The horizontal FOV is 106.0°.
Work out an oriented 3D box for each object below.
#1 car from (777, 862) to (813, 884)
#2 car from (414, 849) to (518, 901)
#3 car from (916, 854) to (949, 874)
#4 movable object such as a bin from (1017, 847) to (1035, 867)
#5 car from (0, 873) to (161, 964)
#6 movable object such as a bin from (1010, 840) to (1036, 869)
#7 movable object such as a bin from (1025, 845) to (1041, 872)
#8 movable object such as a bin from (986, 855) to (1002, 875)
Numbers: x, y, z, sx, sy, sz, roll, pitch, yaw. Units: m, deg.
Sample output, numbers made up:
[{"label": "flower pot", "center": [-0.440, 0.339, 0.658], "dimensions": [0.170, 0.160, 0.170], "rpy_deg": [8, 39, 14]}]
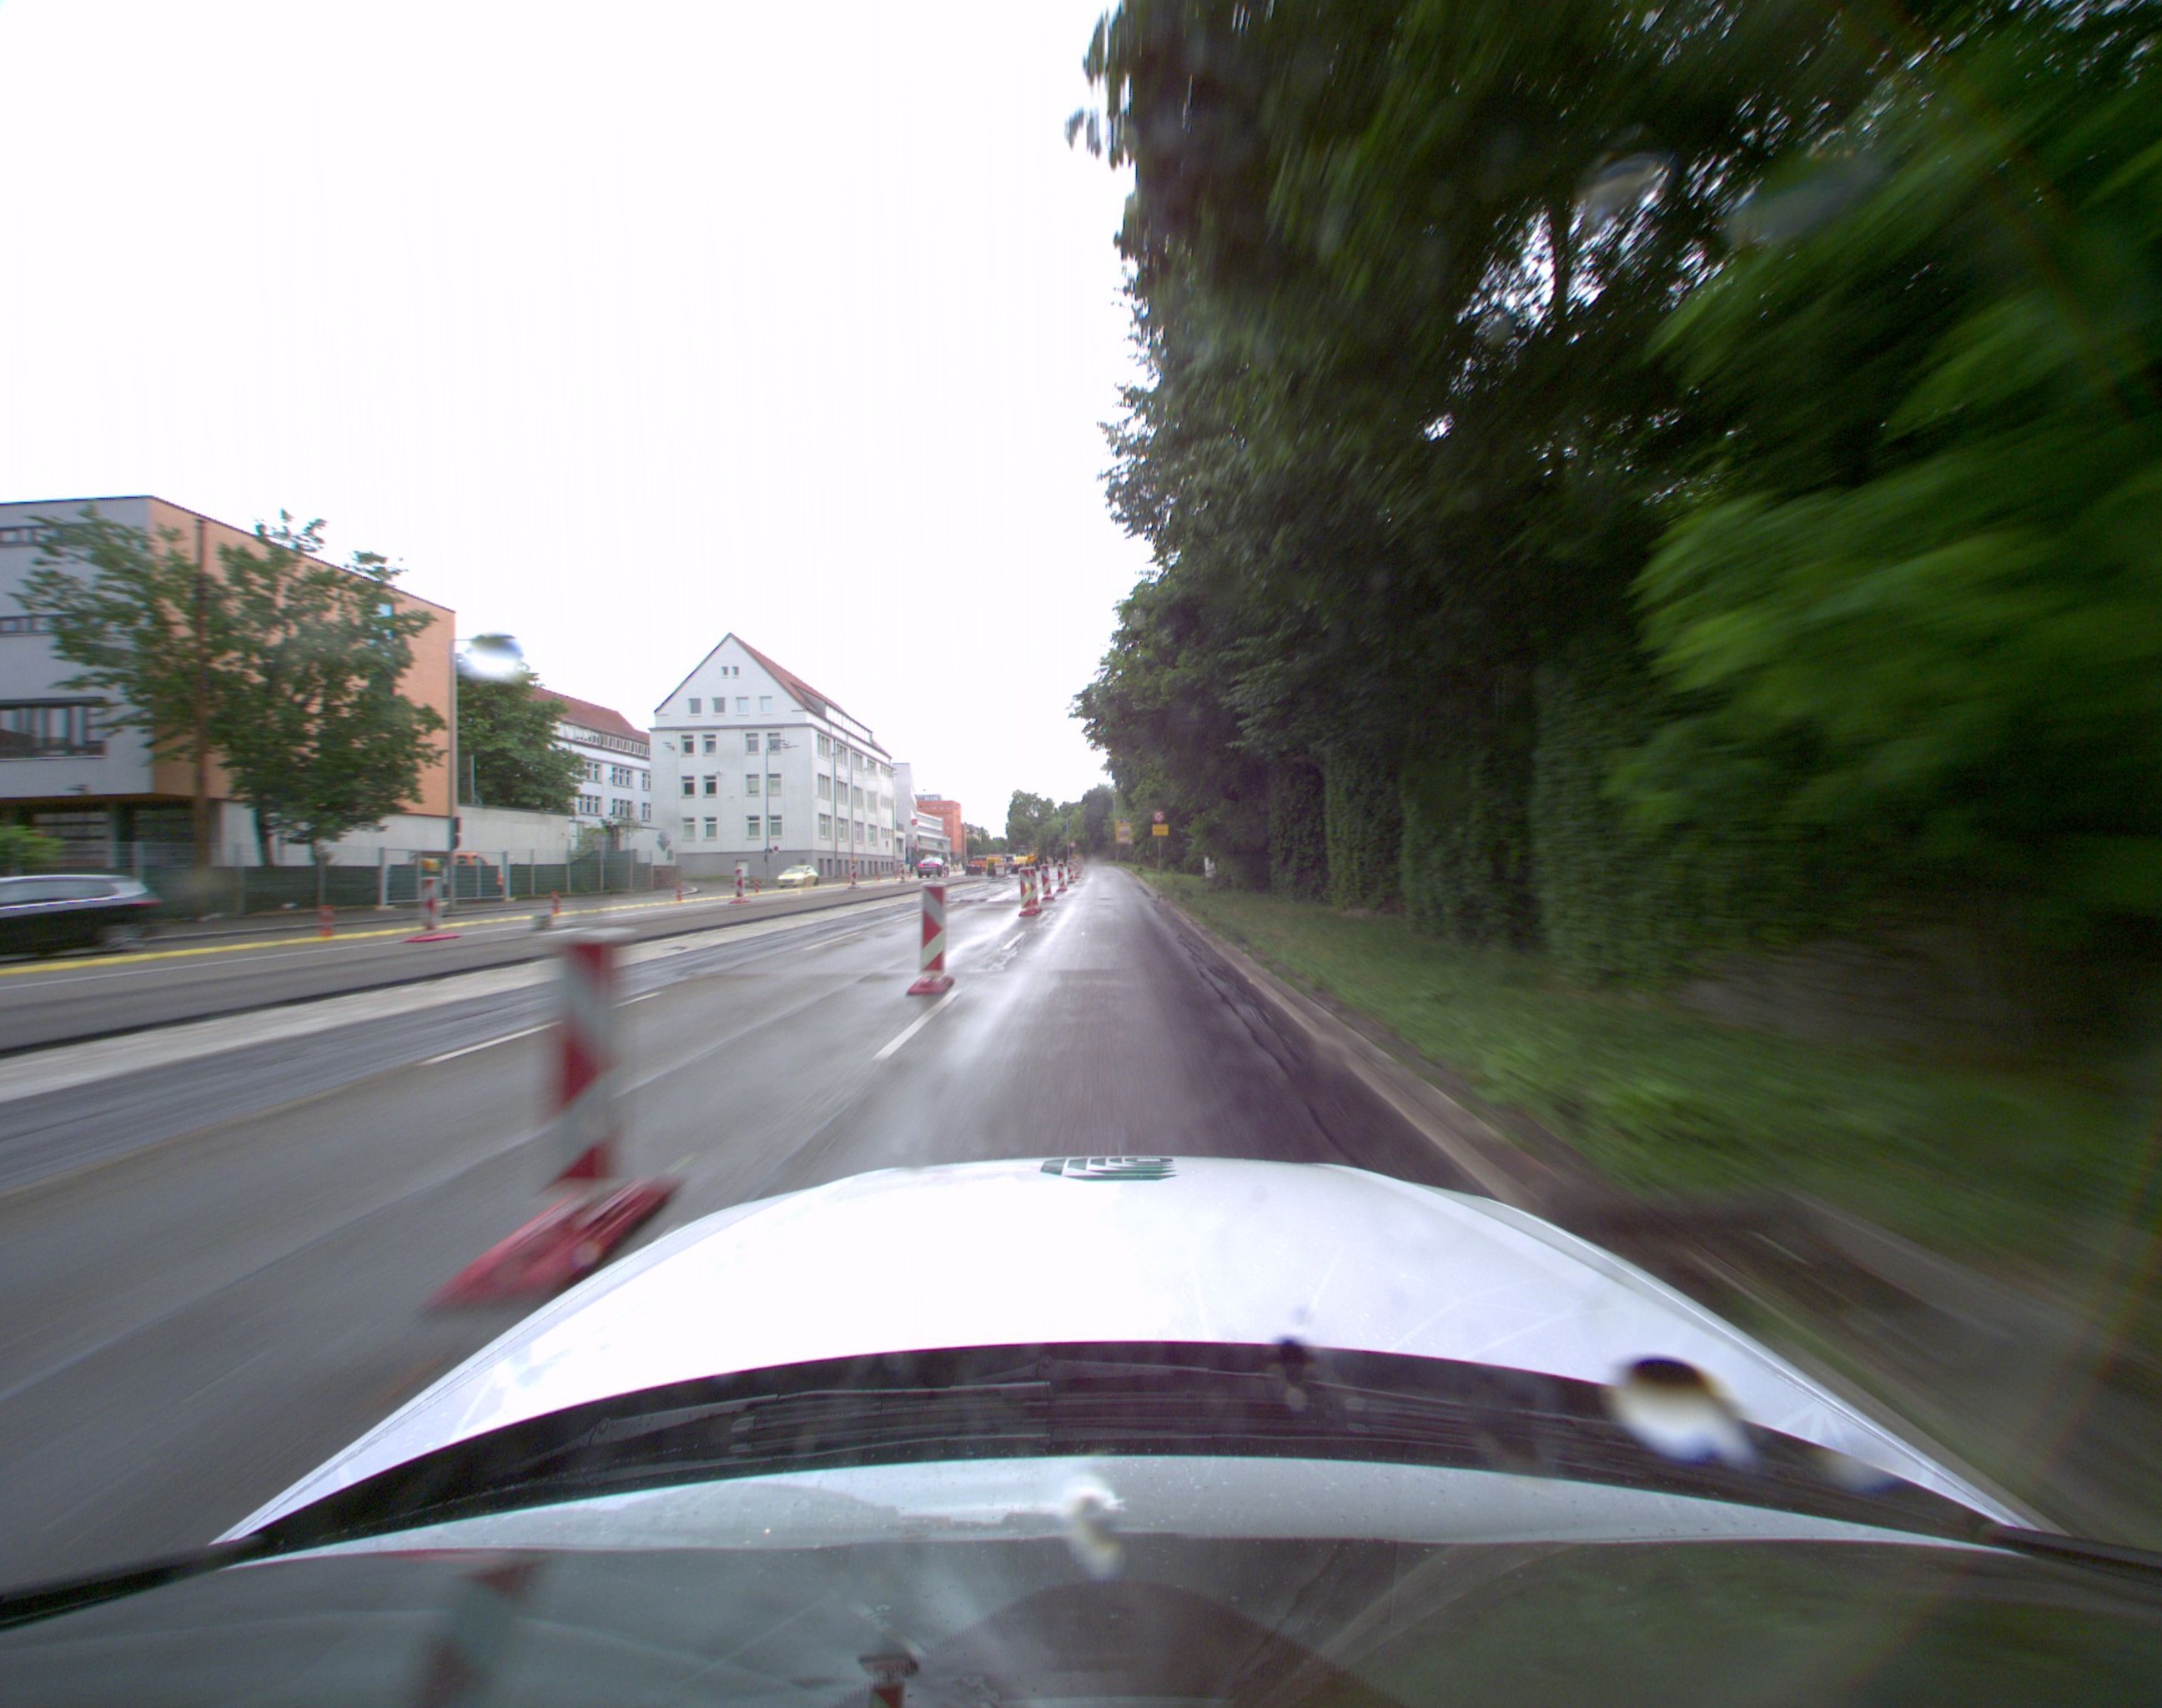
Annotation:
[{"label": "car", "center": [-19.525, 1.277, 55.710], "dimensions": [1.553, 1.368, 3.792], "rpy_deg": [-3, 0, -9]}, {"label": "car", "center": [-27.825, 0.907, 37.004], "dimensions": [1.604, 2.170, 4.000], "rpy_deg": [-2, 0, 1]}, {"label": "car", "center": [-13.003, 0.869, 71.392], "dimensions": [1.885, 1.650, 4.398], "rpy_deg": [-1, -1, 2]}, {"label": "movable object such as a bin", "center": [-5.760, 0.299, 85.979], "dimensions": [1.357, 2.090, 5.031], "rpy_deg": [-2, 0, 2]}, {"label": "car", "center": [-20.694, 1.259, 15.256], "dimensions": [1.852, 1.630, 4.331], "rpy_deg": [-4, -1, 2]}, {"label": "movable object such as a bin", "center": [-5.691, 0.048, 80.287], "dimensions": [1.895, 2.609, 5.384], "rpy_deg": [-2, 0, 1]}, {"label": "movable object such as a bin", "center": [-5.663, 0.504, 95.708], "dimensions": [1.461, 3.008, 3.724], "rpy_deg": [-4, 0, 0]}, {"label": "movable object such as a bin", "center": [-7.649, 0.958, 71.871], "dimensions": [1.079, 1.644, 2.439], "rpy_deg": [-2, 0, 1]}]
